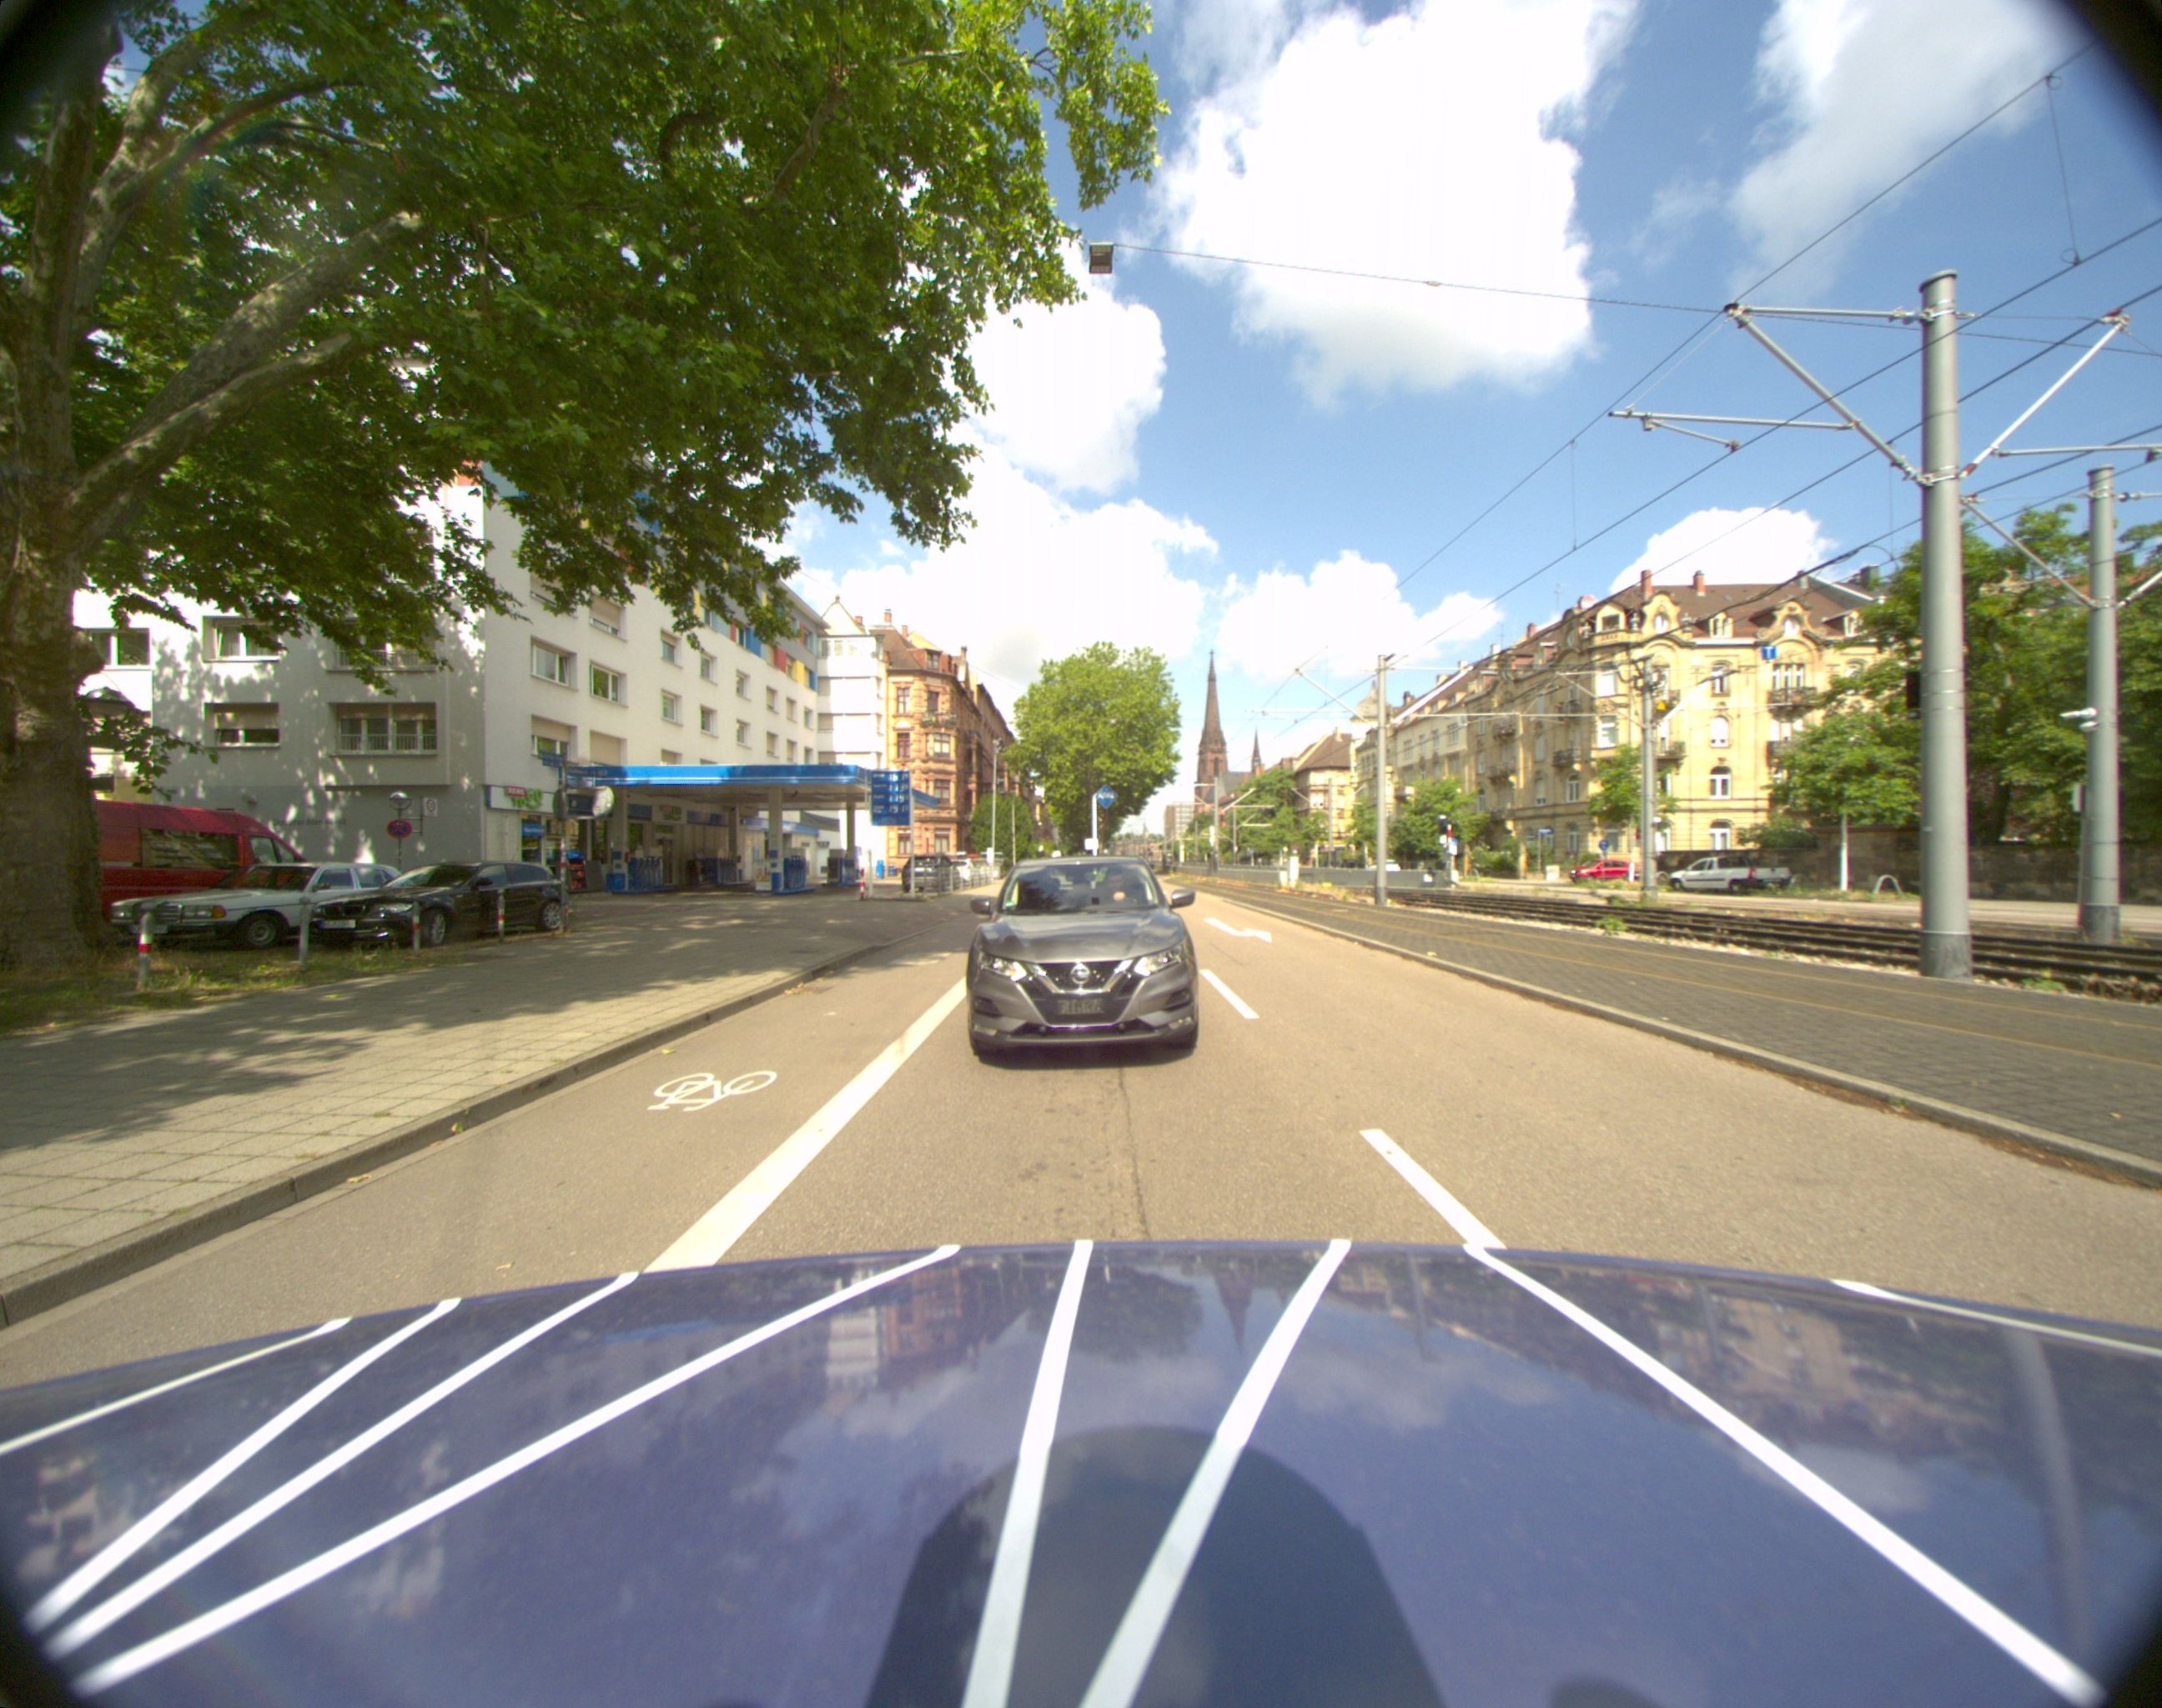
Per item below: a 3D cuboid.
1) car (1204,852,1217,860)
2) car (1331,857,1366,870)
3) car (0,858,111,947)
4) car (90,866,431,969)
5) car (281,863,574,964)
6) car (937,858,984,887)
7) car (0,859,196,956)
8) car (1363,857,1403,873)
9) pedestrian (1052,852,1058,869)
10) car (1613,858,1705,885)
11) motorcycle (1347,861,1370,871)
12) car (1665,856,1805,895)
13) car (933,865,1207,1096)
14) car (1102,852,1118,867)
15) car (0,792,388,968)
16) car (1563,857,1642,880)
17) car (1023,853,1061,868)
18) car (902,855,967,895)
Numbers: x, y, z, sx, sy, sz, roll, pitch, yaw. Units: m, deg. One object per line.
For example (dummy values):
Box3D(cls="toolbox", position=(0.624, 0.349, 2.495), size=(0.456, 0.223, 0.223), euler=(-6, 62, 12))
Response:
Box3D(cls="car", position=(26.949, 0.325, 157.920), size=(1.998, 1.628, 4.114), euler=(0, 0, 0))
Box3D(cls="car", position=(27.043, 0.948, 77.062), size=(2.025, 1.319, 4.100), euler=(0, 0, -2))
Box3D(cls="car", position=(-22.324, 0.981, 14.308), size=(2.011, 1.744, 4.653), euler=(-2, 0, 2))
Box3D(cls="car", position=(-13.811, 0.959, 13.216), size=(1.653, 1.461, 4.042), euler=(0, 0, -3))
Box3D(cls="car", position=(-11.100, 0.910, 13.356), size=(1.653, 1.461, 4.043), euler=(0, 0, 0))
Box3D(cls="car", position=(-6.355, 0.954, 40.527), size=(1.810, 1.447, 4.001), euler=(-1, 0, 0))
Box3D(cls="car", position=(-19.250, 0.933, 13.273), size=(2.011, 1.641, 4.653), euler=(-2, 0, 2))
Box3D(cls="car", position=(27.018, 0.973, 68.114), size=(1.756, 1.320, 4.312), euler=(0, 0, -1))
Box3D(cls="pedestrian", position=(-2.734, 0.631, 79.154), size=(0.565, 1.775, 0.630), euler=(0, 0, 0))
Box3D(cls="car", position=(33.114, 0.988, 43.590), size=(3.972, 1.455, 1.723), euler=(0, 0, 1))
Box3D(cls="motorcycle", position=(27.100, 1.150, 74.231), size=(1.765, 0.936, 1.418), euler=(1, 0, -1))
Box3D(cls="car", position=(26.900, 0.834, 31.479), size=(1.936, 1.495, 4.413), euler=(0, 0, -1))
Box3D(cls="car", position=(-0.034, 0.864, 7.275), size=(1.800, 1.454, 4.567), euler=(0, 0, 1))
Box3D(cls="car", position=(3.123, 0.554, 81.405), size=(1.557, 1.476, 3.859), euler=(2, 0, 0))
Box3D(cls="car", position=(-16.688, 0.395, 14.011), size=(2.116, 2.567, 6.020), euler=(0, 0, 2))
Box3D(cls="car", position=(33.806, 0.937, 49.311), size=(3.788, 1.455, 1.933), euler=(0, 0, 4))
Box3D(cls="car", position=(-5.021, 0.779, 98.086), size=(4.735, 1.772, 2.004), euler=(-2, 0, -7))
Box3D(cls="car", position=(-6.316, 0.867, 33.341), size=(1.810, 1.593, 4.583), euler=(-1, 0, 2))
